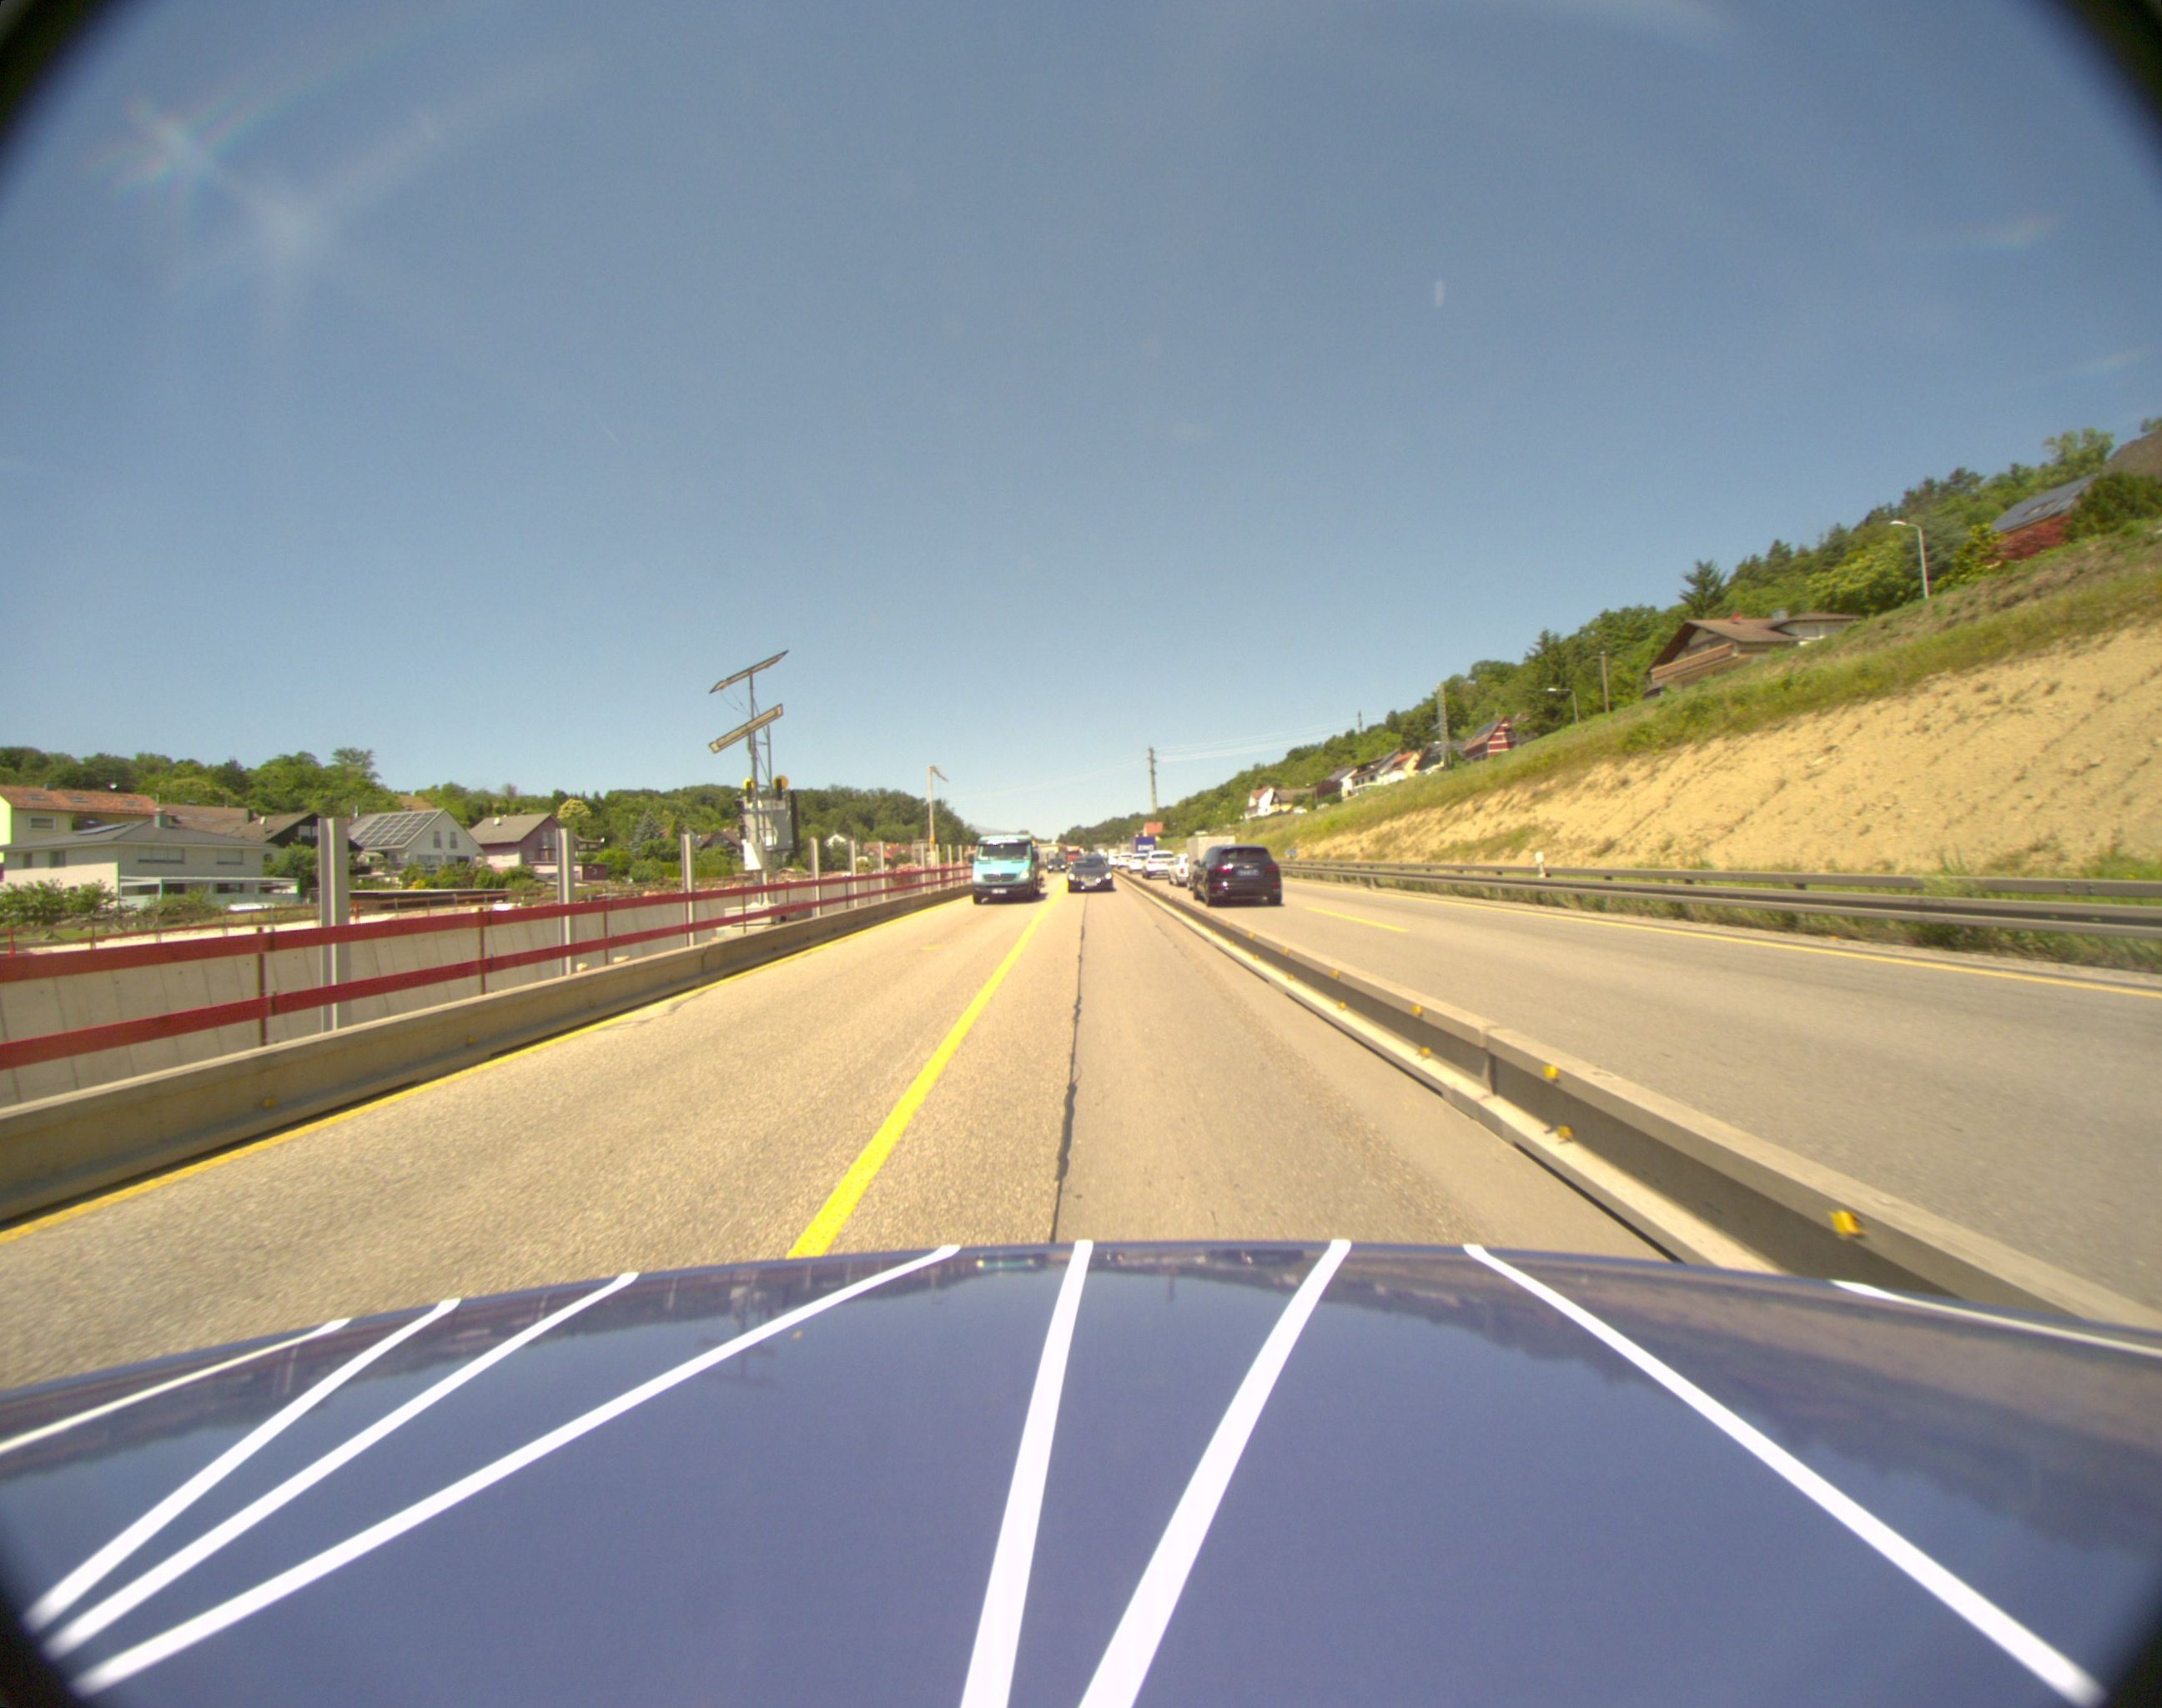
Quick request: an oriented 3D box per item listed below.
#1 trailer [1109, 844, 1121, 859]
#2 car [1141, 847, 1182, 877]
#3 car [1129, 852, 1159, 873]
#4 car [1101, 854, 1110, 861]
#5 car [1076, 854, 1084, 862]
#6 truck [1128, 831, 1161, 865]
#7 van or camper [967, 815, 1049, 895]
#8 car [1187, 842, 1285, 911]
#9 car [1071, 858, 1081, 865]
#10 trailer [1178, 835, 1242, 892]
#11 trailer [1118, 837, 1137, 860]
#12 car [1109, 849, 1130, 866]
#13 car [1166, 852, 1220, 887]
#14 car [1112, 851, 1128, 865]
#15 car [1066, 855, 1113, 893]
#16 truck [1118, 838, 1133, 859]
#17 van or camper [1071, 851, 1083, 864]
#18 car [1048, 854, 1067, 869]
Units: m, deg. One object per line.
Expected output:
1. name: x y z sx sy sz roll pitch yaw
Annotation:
1. trailer: 9.926 -0.750 225.770 2.864 4.100 13.437 -2 0 0
2. car: 4.594 0.433 43.914 1.820 1.583 4.289 -2 0 0
3. car: 4.751 0.595 57.780 1.811 1.468 4.280 -2 0 0
4. car: 5.398 0.731 169.938 1.853 1.577 4.174 -2 0 0
5. car: -0.165 0.950 170.654 1.744 1.679 3.640 -2 0 1
6. truck: 8.503 -0.757 103.023 3.251 4.135 13.977 -2 0 0
7. van or camper: -2.472 0.035 27.890 2.097 2.458 7.671 -2 0 1
8. car: 4.248 0.549 21.562 1.895 1.698 4.561 -1 0 1
9. car: -0.892 1.411 145.405 1.679 1.346 3.486 -4 0 1
10. trailer: 4.977 0.340 29.836 1.651 2.014 4.269 -2 0 -2
11. trailer: 9.269 -1.075 152.472 2.817 4.261 14.034 -2 0 0
12. car: 3.997 0.361 78.777 1.896 1.698 4.561 -2 0 0
13. car: 4.871 0.623 33.539 1.651 1.407 3.999 -2 0 -2
14. car: 4.906 0.464 96.661 1.817 1.628 4.361 -2 0 0
15. car: 0.346 0.768 31.173 1.746 1.420 4.000 -1 0 1
16. truck: 9.255 -1.106 159.666 2.781 4.262 4.676 -2 0 0
17. van or camper: -0.797 0.751 165.332 2.321 2.513 4.528 -4 0 1
18. car: -2.190 0.717 71.710 1.611 1.324 3.496 -3 0 1
